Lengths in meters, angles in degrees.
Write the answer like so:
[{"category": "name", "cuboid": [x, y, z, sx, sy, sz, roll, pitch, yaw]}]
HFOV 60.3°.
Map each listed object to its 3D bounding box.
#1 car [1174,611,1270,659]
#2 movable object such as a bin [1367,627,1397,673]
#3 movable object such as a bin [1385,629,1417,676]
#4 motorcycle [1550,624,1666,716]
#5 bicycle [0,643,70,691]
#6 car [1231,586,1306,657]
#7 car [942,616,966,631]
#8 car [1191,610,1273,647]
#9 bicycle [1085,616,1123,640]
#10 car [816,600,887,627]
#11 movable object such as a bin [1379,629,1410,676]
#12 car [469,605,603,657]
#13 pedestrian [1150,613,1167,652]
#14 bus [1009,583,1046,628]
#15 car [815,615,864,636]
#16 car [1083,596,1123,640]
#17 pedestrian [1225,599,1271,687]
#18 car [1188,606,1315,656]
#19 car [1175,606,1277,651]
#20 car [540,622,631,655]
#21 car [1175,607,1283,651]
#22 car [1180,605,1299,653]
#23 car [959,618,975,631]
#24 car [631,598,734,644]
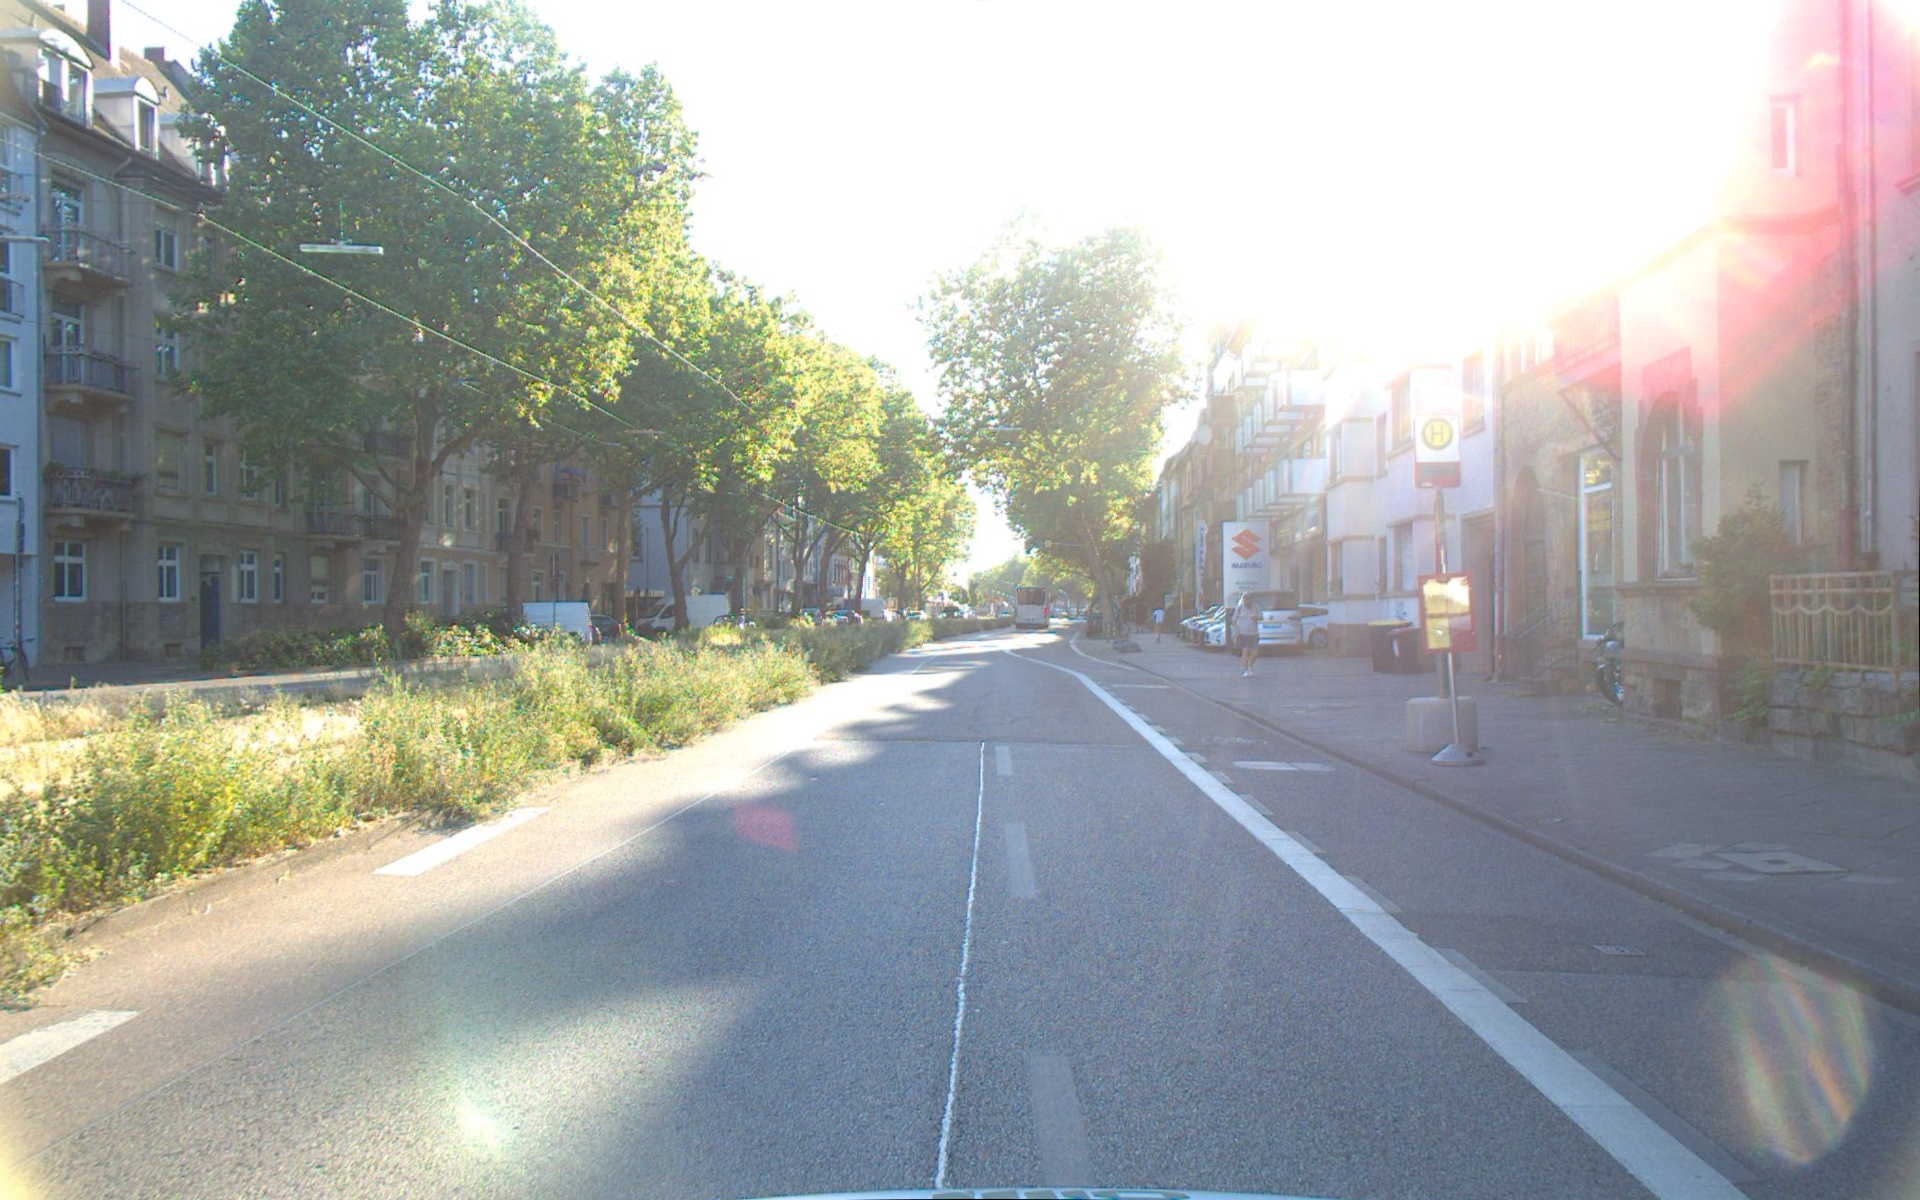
[{"category": "car", "cuboid": [9.963, 1.339, 63.049, 3.504, 1.750, 1.683, -1, 1, 6]}, {"category": "movable object such as a bin", "cuboid": [9.152, 1.077, 35.878, 0.542, 0.986, 0.585, -1, -2, 6]}, {"category": "movable object such as a bin", "cuboid": [9.217, 1.093, 34.556, 0.542, 0.986, 0.585, -1, -2, 6]}, {"category": "motorcycle", "cuboid": [8.598, 0.914, 22.060, 0.577, 1.157, 2.505, 0, -1, 1]}, {"category": "bicycle", "cuboid": [-22.208, 1.572, 39.220, 0.741, 1.050, 1.895, 5, 0, 18]}, {"category": "car", "cuboid": [9.131, 0.666, 49.218, 1.852, 1.983, 4.903, -1, -1, 7]}, {"category": "car", "cuboid": [-0.721, 2.675, 188.639, 1.836, 1.723, 4.761, 0, -1, -12]}, {"category": "car", "cuboid": [11.860, 1.267, 72.229, 3.347, 1.574, 1.442, 0, -2, 1]}, {"category": "bicycle", "cuboid": [6.982, 1.357, 80.120, 1.806, 1.163, 0.348, -1, -2, 4]}, {"category": "car", "cuboid": [-10.927, 1.363, 166.194, 6.826, 2.725, 2.175, 0, -2, -17]}, {"category": "movable object such as a bin", "cuboid": [9.243, 1.115, 35.157, 0.542, 0.986, 0.585, -1, -2, 6]}, {"category": "car", "cuboid": [-17.624, 1.256, 68.836, 5.193, 2.102, 1.698, 0, -1, -38]}, {"category": "pedestrian", "cuboid": [8.511, 1.398, 71.008, 0.649, 1.657, 0.923, -1, -2, 4]}, {"category": "bus", "cuboid": [5.194, 0.503, 127.672, 2.774, 3.292, 8.183, 0, -1, 2]}, {"category": "car", "cuboid": [-10.960, 2.282, 150.446, 3.941, 1.728, 1.839, -2, -1, -28]}, {"category": "car", "cuboid": [7.616, 0.996, 88.574, 1.952, 2.297, 5.237, 0, -1, 3]}, {"category": "pedestrian", "cuboid": [6.155, 0.911, 35.369, 0.811, 1.844, 1.151, 0, -2, 3]}, {"category": "car", "cuboid": [9.419, 0.984, 53.637, 3.733, 1.527, 1.913, 0, 0, -1]}, {"category": "car", "cuboid": [9.445, 1.000, 58.895, 3.348, 1.552, 1.741, -1, -1, 0]}, {"category": "car", "cuboid": [-17.036, 1.739, 75.352, 3.690, 1.447, 1.698, 0, -1, -38]}, {"category": "car", "cuboid": [9.884, 1.062, 61.011, 3.739, 1.567, 1.860, 0, -1, 2]}, {"category": "car", "cuboid": [9.438, 0.975, 56.146, 3.788, 1.540, 1.810, 0, 0, 2]}, {"category": "car", "cuboid": [0.868, 3.101, 206.566, 1.752, 1.601, 4.002, -1, -1, 5]}, {"category": "car", "cuboid": [-15.729, 1.178, 93.866, 5.452, 2.573, 2.097, 0, -1, -38]}]
